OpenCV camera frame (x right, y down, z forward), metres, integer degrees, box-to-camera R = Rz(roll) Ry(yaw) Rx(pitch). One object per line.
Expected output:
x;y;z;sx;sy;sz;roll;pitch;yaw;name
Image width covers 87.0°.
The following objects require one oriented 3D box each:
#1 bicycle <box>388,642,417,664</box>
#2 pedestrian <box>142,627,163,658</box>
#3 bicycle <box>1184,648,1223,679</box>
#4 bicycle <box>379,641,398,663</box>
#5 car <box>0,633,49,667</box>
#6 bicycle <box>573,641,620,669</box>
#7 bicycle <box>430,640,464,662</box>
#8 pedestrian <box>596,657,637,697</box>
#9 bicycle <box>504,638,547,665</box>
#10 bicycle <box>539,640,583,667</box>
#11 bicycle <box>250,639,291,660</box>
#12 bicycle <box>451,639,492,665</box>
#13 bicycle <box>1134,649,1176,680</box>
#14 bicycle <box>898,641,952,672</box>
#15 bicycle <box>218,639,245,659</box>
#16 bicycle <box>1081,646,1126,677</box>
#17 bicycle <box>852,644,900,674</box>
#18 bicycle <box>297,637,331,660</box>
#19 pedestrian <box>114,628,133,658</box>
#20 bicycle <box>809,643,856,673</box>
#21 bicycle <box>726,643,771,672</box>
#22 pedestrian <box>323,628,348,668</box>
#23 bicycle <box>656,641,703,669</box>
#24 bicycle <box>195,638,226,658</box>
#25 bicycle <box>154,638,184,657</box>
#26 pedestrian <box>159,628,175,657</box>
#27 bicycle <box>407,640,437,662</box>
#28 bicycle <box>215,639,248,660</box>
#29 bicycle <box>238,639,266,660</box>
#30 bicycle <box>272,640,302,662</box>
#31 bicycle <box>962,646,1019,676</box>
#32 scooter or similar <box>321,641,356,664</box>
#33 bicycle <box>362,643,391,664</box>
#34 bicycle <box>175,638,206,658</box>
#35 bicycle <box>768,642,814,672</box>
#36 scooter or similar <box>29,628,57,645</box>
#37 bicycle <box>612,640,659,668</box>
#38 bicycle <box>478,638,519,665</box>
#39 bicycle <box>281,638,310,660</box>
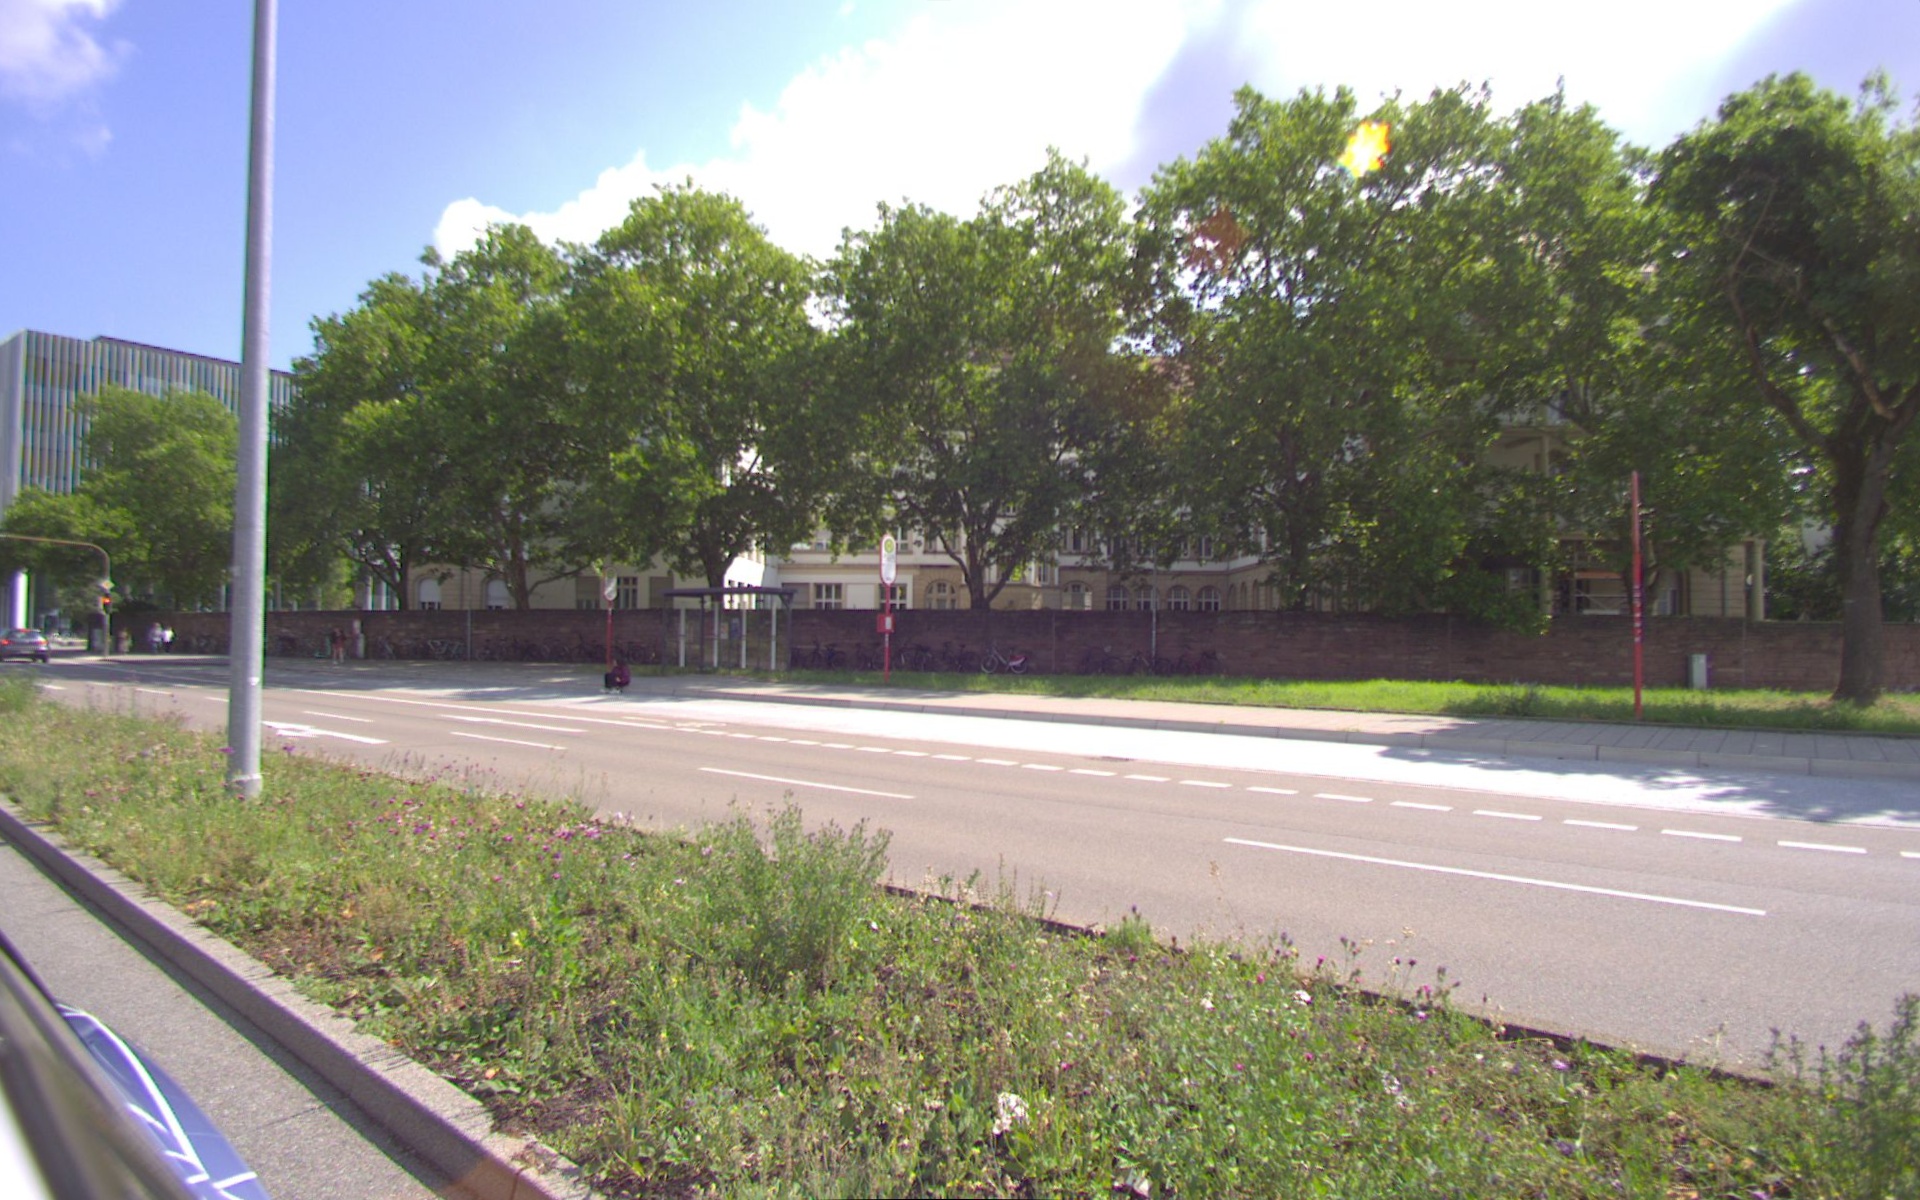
-25.140;2.382;45.622;1.393;0.962;0.364;-1;-2;24;bicycle
-43.105;2.255;54.029;0.729;1.664;0.636;-1;-3;33;pedestrian
8.144;2.114;33.906;1.244;1.019;0.351;-1;-2;18;bicycle
-25.423;2.299;45.036;0.362;0.962;1.626;2;-3;-42;bicycle
-41.413;2.173;44.198;4.140;1.456;1.684;-2;-4;39;car
-14.545;2.186;40.502;1.741;1.081;0.581;-1;-2;17;bicycle
-22.421;2.232;44.196;1.616;0.962;0.368;-1;-2;24;bicycle
-8.696;1.945;25.643;0.742;0.970;0.688;-1;-2;37;pedestrian
-18.066;2.137;42.079;1.744;1.081;0.579;-1;-2;23;bicycle
-16.283;2.170;41.252;1.744;1.081;0.580;-1;-2;22;bicycle
-34.369;2.453;50.461;1.863;1.056;0.591;0;-2;14;bicycle
-20.856;2.206;43.229;1.744;1.081;0.579;-1;-2;23;bicycle
6.586;2.168;34.216;1.359;1.019;0.389;-1;-2;18;bicycle
-1.245;2.021;36.188;1.857;1.081;0.580;-1;-2;22;bicycle
-37.876;2.543;52.637;1.873;1.056;0.367;-1;-3;30;bicycle
4.903;2.099;34.577;1.444;1.019;0.469;-1;-2;18;bicycle
-3.043;2.126;36.621;1.617;1.081;0.581;-1;-2;17;bicycle
-31.019;2.323;48.590;1.873;1.056;0.576;-1;-3;30;bicycle
-46.271;2.374;55.981;0.725;1.664;0.556;-1;-3;33;pedestrian
-4.676;2.126;37.120;1.617;1.081;0.581;-1;-2;17;bicycle
-7.961;2.149;38.100;1.617;1.081;0.581;-1;-2;17;bicycle
-25.285;1.929;40.966;0.744;1.622;0.649;-2;-2;40;pedestrian
-10.851;2.123;39.159;1.741;1.081;0.581;-1;-2;17;bicycle
-39.702;2.533;53.598;1.873;1.056;0.560;-1;-3;30;bicycle
-43.726;2.616;55.935;1.873;1.056;0.625;-1;-3;30;bicycle
-42.861;2.318;54.729;0.614;1.552;0.472;-1;-3;33;pedestrian
-23.870;2.270;44.925;1.393;0.962;0.364;-1;-2;24;bicycle
-37.033;2.509;51.431;1.873;1.056;0.588;-1;-3;30;bicycle
-36.021;2.492;51.488;1.873;1.056;0.367;-1;-3;30;bicycle
-32.791;2.465;49.303;1.873;1.056;0.370;-1;-3;30;bicycle
1.060;2.121;35.527;1.948;1.019;0.469;-1;-2;18;bicycle
-29.273;2.458;47.661;1.873;1.056;0.576;-1;-3;30;scooter or similar
-26.703;2.438;46.305;1.393;0.962;0.364;-1;-2;24;bicycle
-41.558;2.589;54.646;1.873;1.056;0.625;-1;-3;30;bicycle
-6.278;2.122;37.610;1.617;1.081;0.581;-1;-2;17;bicycle
-65.074;2.582;71.823;0.498;1.166;1.497;0;-2;11;scooter or similar
-12.779;2.134;39.807;1.741;1.081;0.581;-1;-2;17;bicycle
-19.389;2.163;42.558;1.642;1.084;0.626;-1;-2;23;bicycle
-32.602;2.417;49.651;1.873;1.056;0.391;-1;-3;30;bicycle
